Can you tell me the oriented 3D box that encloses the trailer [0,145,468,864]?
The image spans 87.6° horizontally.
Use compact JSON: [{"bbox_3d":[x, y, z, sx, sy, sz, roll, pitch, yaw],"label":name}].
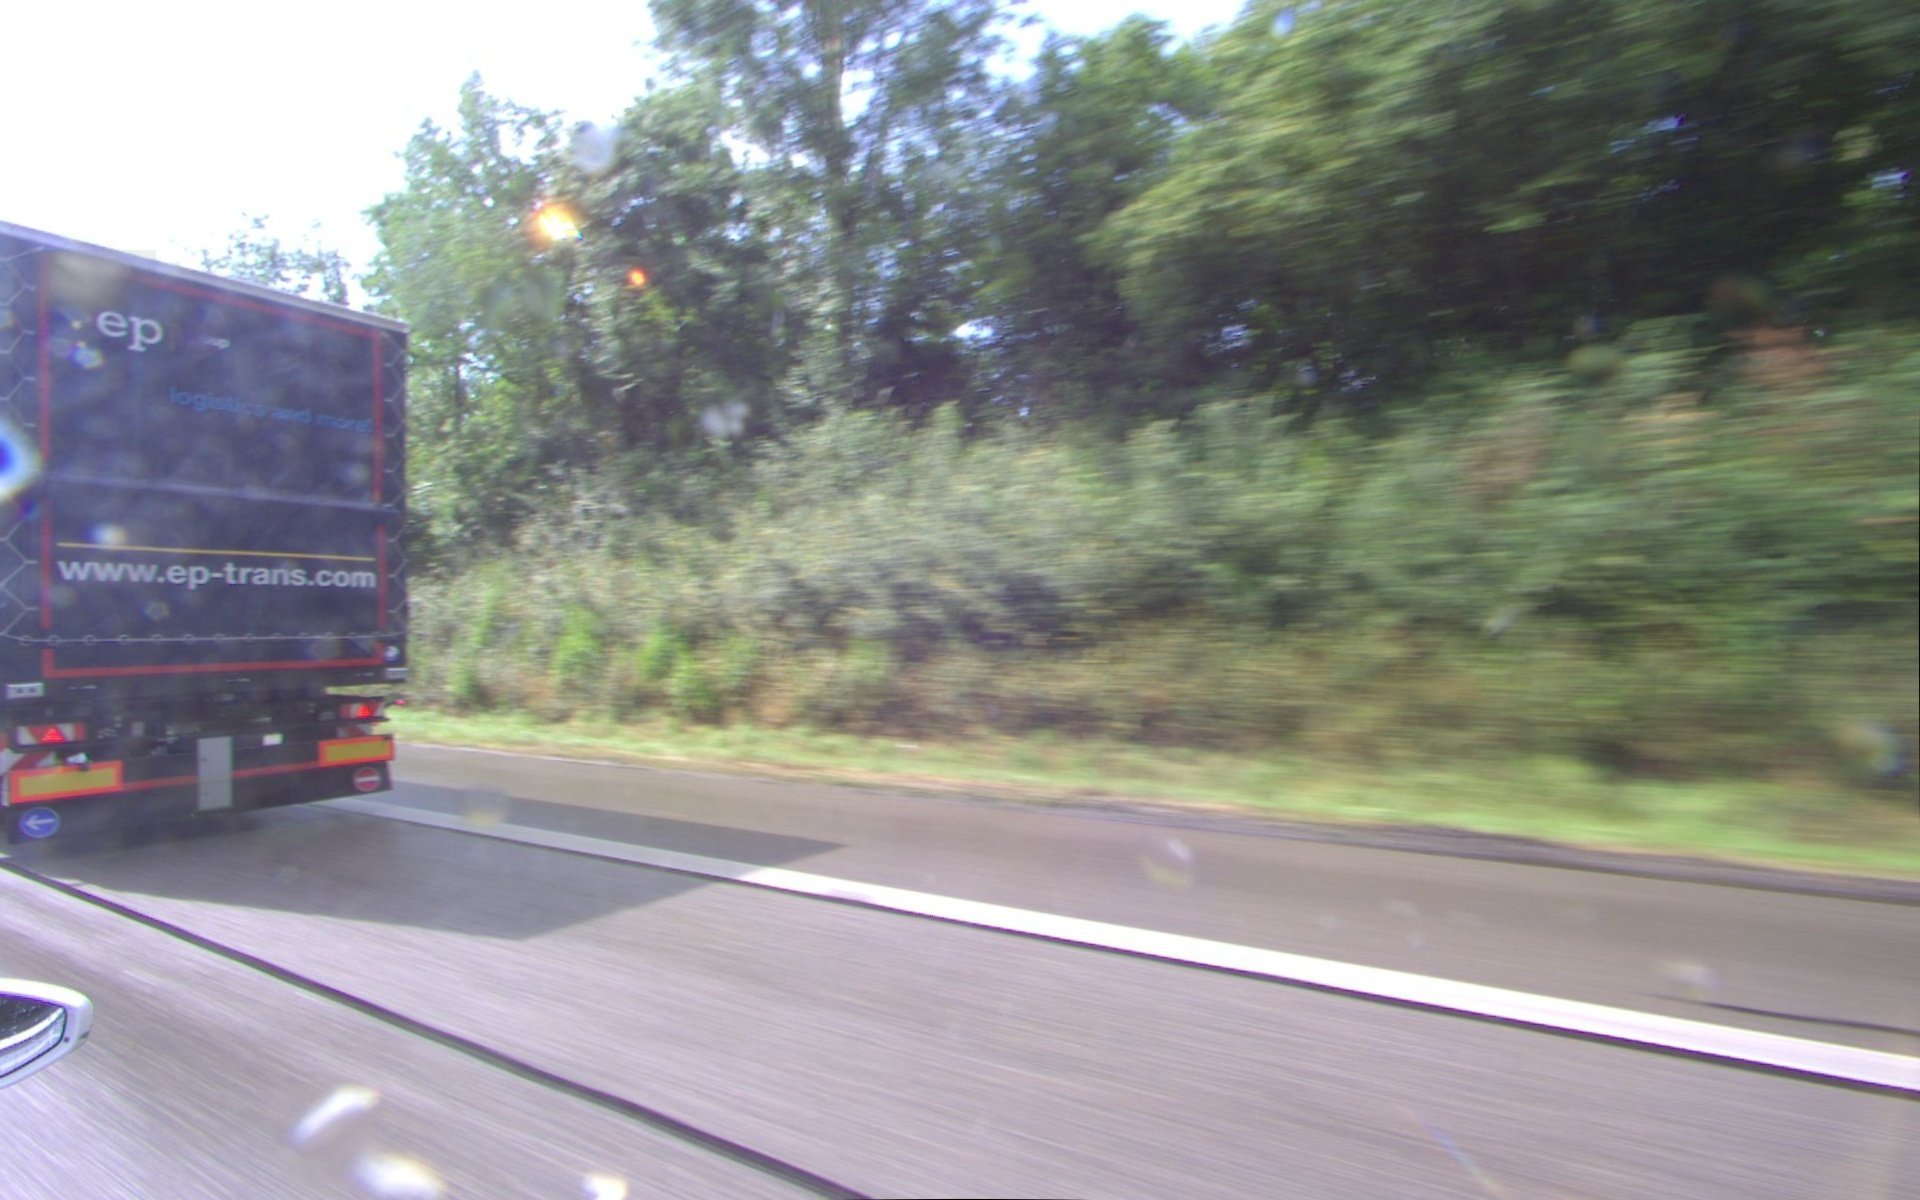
[{"bbox_3d":[-10.921,-0.437,11.084,13.904,4.368,3.082,-1,-1,32],"label":"trailer"}]
